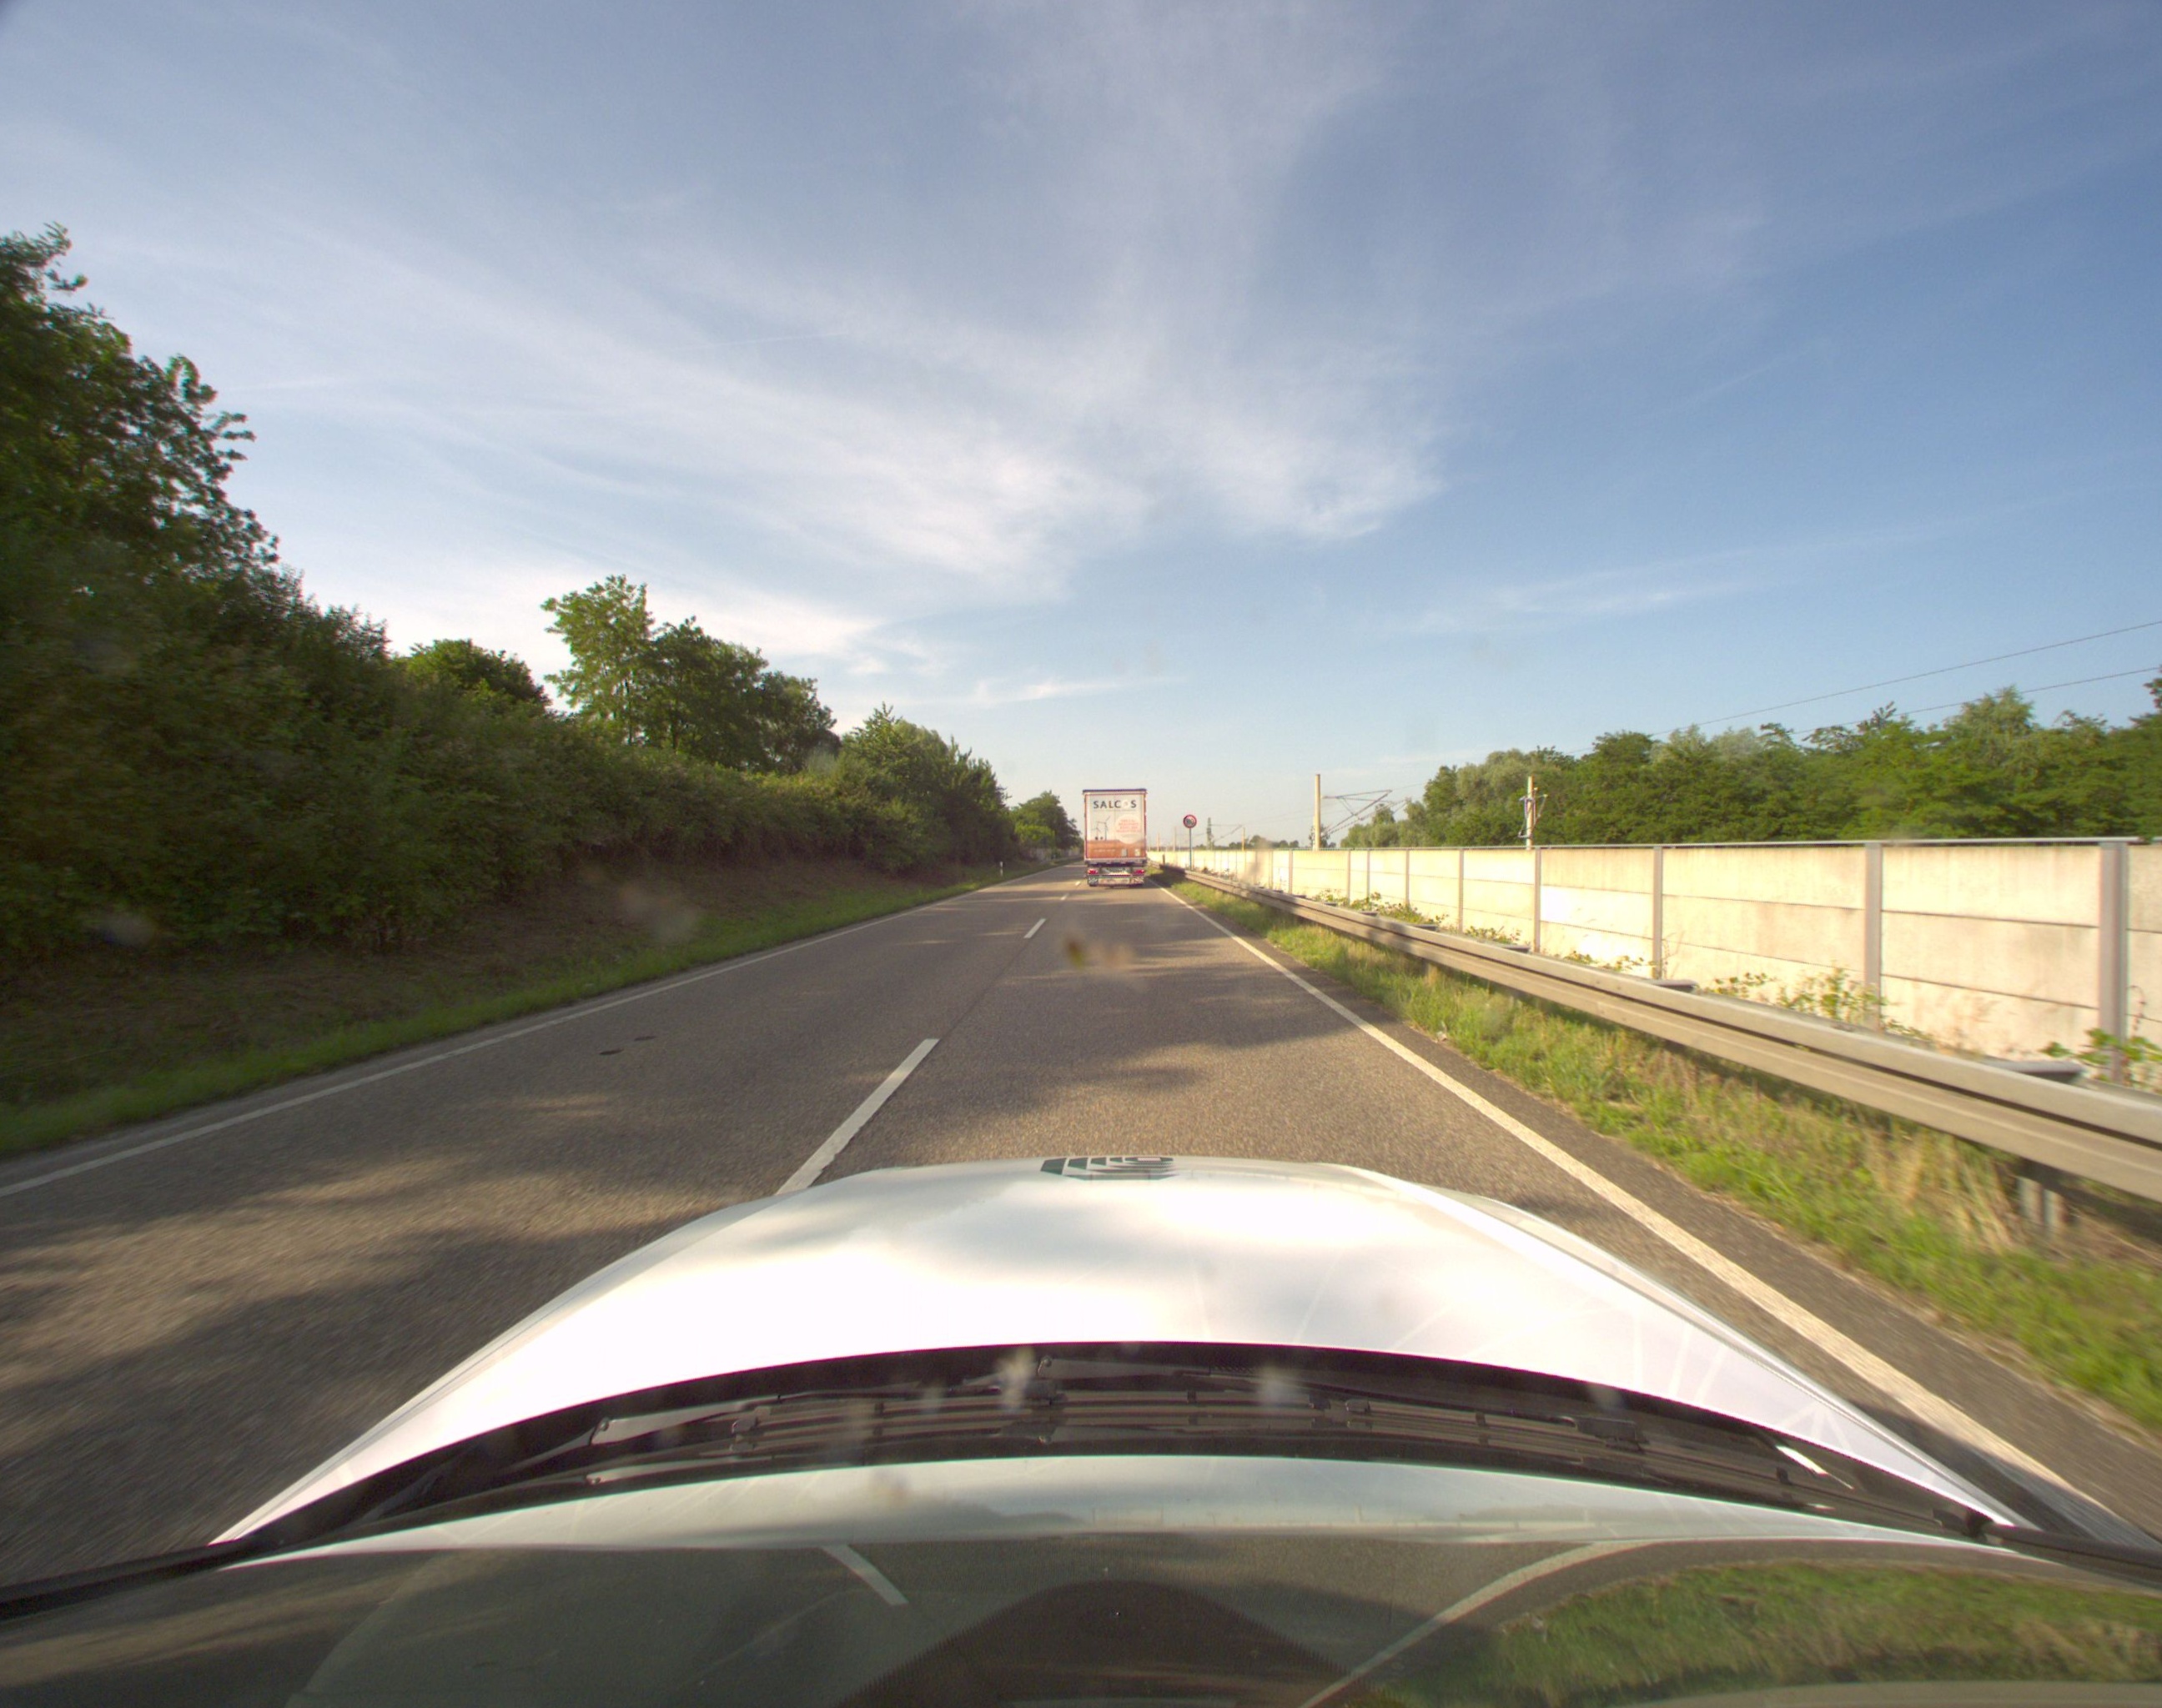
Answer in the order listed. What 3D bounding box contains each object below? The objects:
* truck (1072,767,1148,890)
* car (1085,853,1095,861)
[{"bbox_3d":[1.250,-1.041,38.878,3.023,4.920,11.684,-1,0,1],"label":"truck"},{"bbox_3d":[1.620,0.577,143.006,1.713,1.394,4.363,-1,-1,2],"label":"car"}]
